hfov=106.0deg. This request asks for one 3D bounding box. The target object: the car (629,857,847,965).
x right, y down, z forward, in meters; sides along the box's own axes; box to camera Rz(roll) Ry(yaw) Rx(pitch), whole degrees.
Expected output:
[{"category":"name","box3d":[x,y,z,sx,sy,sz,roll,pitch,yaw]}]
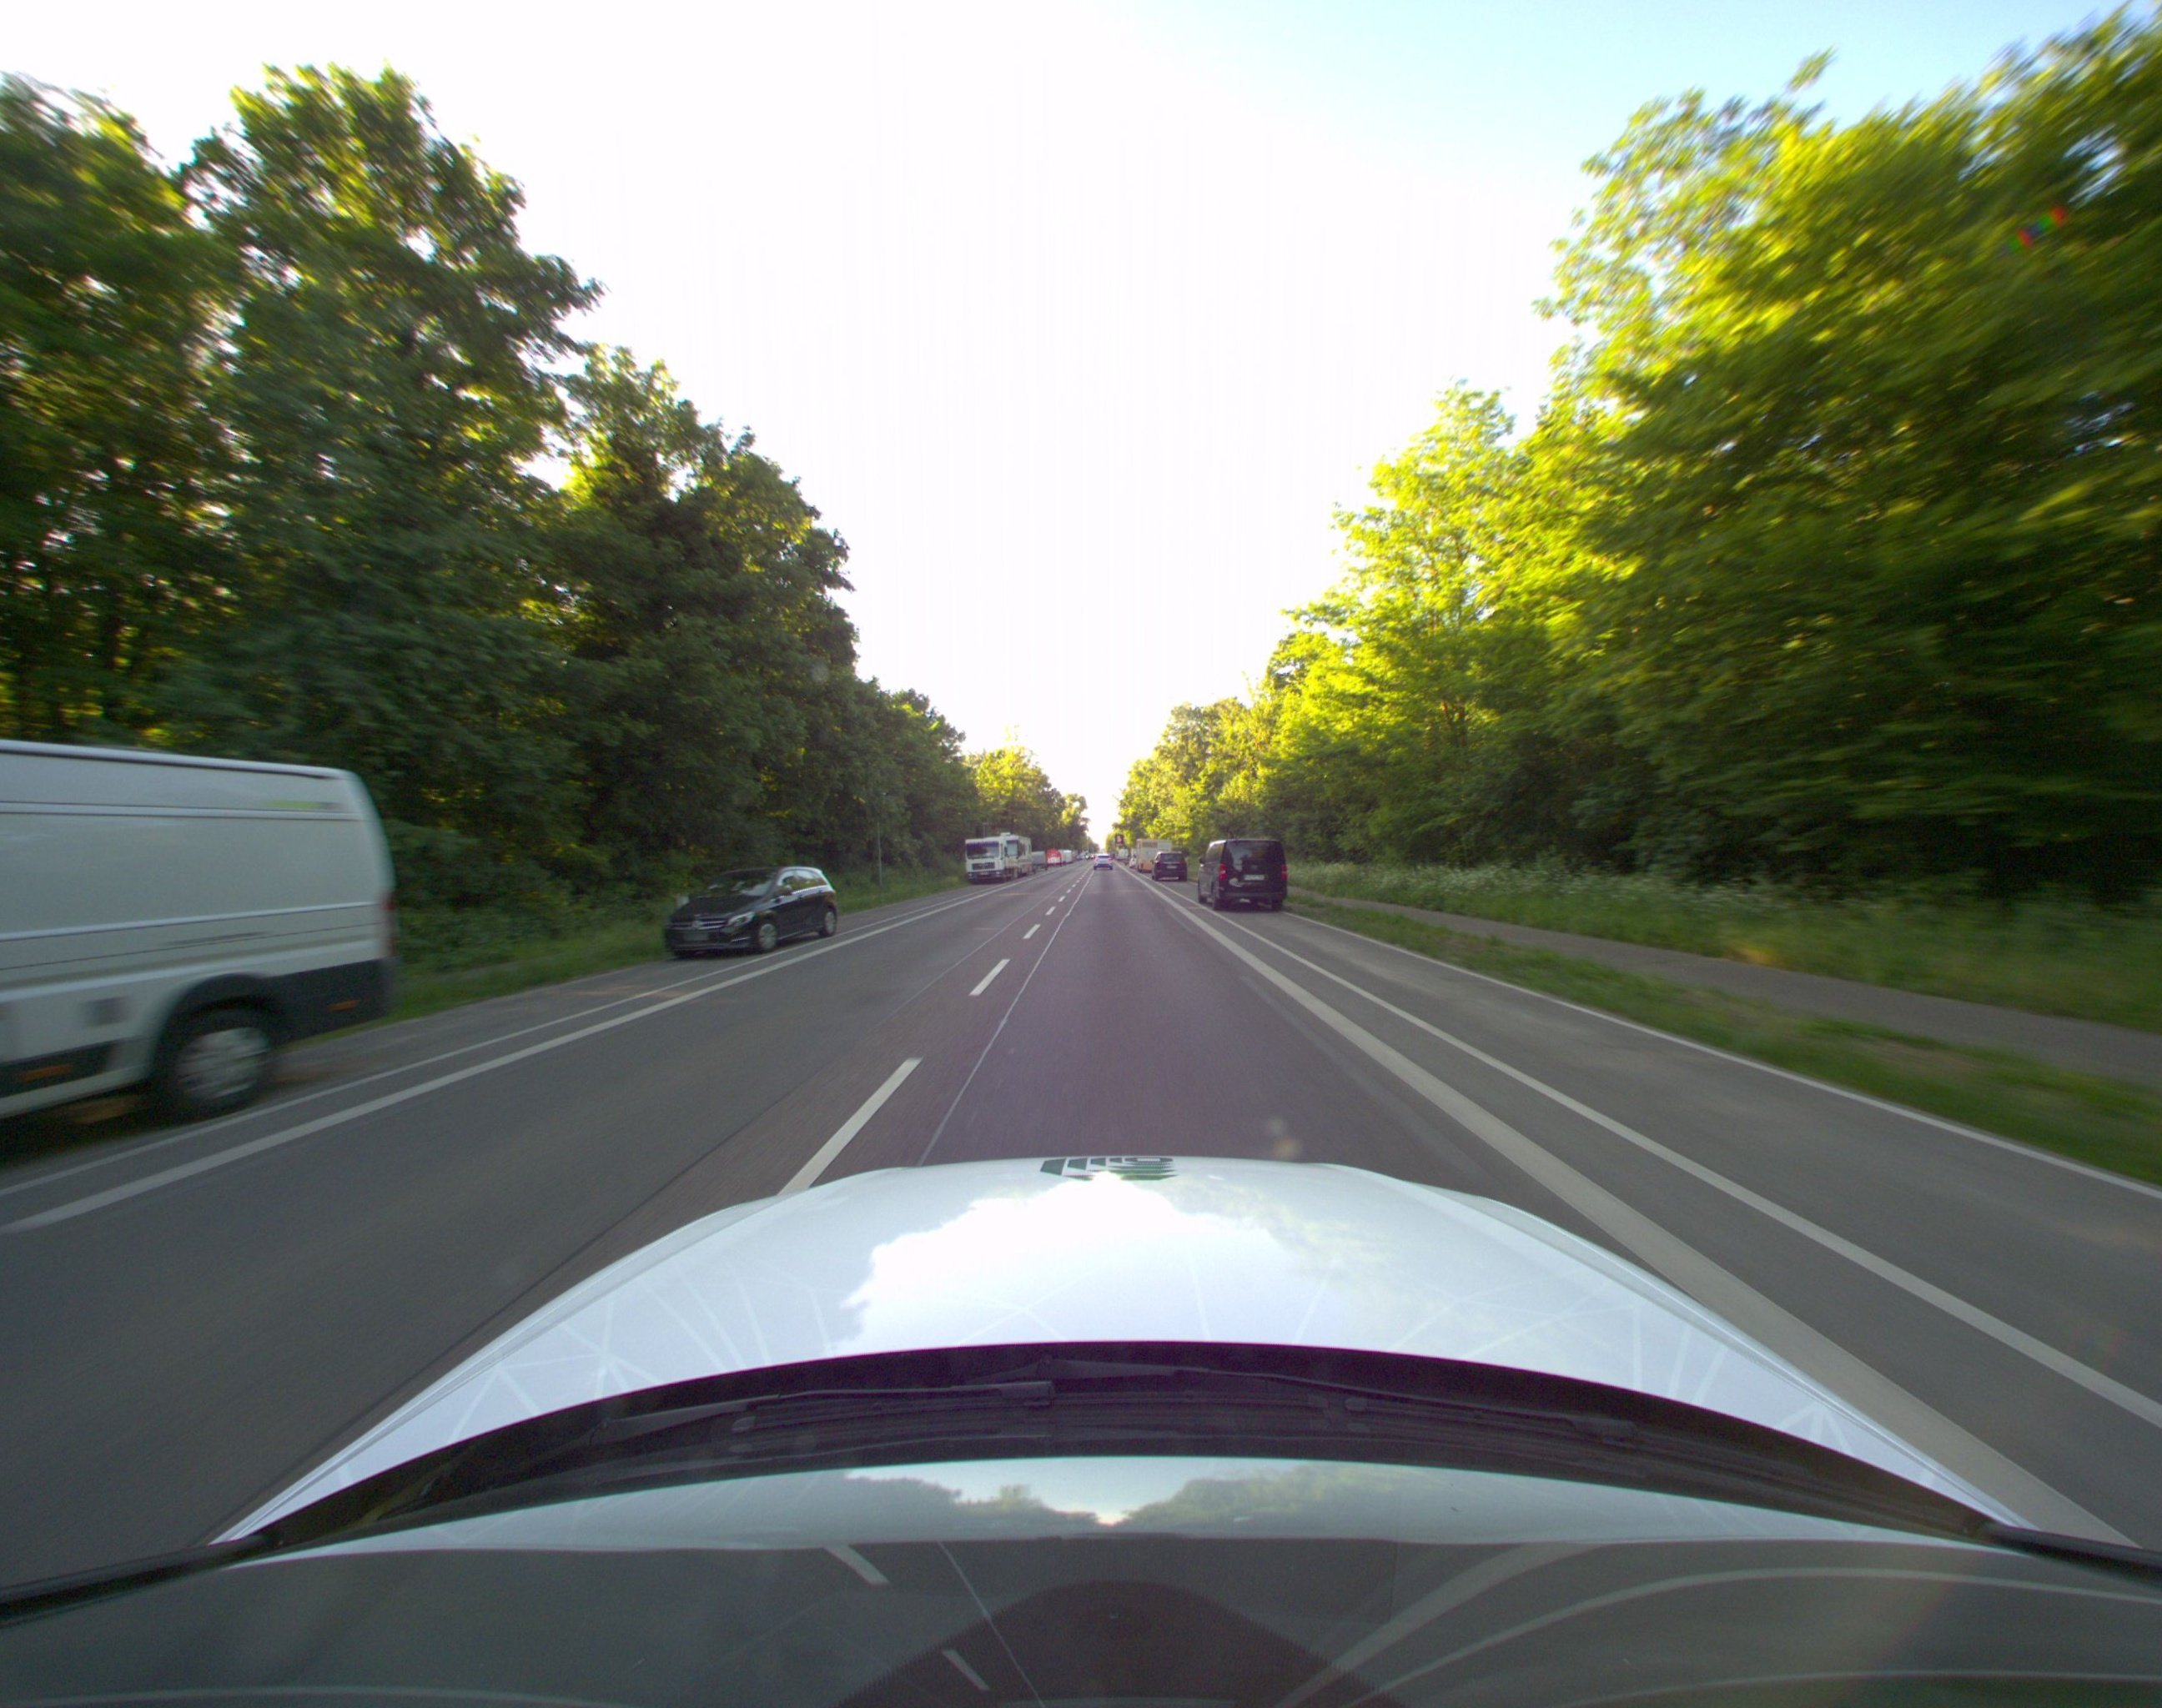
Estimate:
[{"category":"car","box3d":[-6.344,0.960,15.718,1.771,1.684,4.388,-3,0,8]}]

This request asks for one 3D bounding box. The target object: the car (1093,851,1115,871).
[{"category":"car","box3d":[2.252,0.647,79.121,2.021,1.840,4.031,-2,0,2]}]

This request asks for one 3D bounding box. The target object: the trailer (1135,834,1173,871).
[{"category":"trailer","box3d":[6.029,-0.130,68.172,2.747,2.870,6.591,-1,0,2]}]

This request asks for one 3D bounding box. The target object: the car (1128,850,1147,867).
[{"category":"car","box3d":[5.823,0.405,84.183,1.726,1.684,4.001,-1,0,2]}]

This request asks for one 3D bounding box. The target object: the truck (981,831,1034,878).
[{"category":"truck","box3d":[-5.593,0.010,63.802,2.697,3.347,10.928,-1,0,2]}]

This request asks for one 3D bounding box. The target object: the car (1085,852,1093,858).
[{"category":"car","box3d":[2.247,0.285,216.613,1.986,1.677,4.001,-3,0,1]}]

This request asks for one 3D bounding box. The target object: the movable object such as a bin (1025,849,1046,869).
[{"category":"movable object such as a bin","box3d":[-4.846,0.489,87.302,1.946,2.013,4.001,-1,0,1]}]

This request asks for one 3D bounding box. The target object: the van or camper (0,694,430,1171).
[{"category":"van or camper","box3d":[-6.908,0.453,3.881,2.113,2.572,6.545,-2,0,2]}]

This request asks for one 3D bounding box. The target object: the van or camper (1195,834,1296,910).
[{"category":"van or camper","box3d":[4.580,0.458,23.448,1.986,1.932,5.201,0,0,2]}]

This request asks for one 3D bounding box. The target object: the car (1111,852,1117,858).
[{"category":"car","box3d":[8.578,0.246,212.000,1.650,1.478,3.755,-1,0,2]}]

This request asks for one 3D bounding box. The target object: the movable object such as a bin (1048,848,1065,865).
[{"category":"movable object such as a bin","box3d":[-3.753,0.381,125.999,2.313,2.501,4.001,-1,0,1]}]

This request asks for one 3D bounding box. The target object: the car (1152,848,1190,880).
[{"category":"car","box3d":[5.024,0.535,46.028,1.834,1.662,4.002,-1,0,2]}]

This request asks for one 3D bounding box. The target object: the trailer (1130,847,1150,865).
[{"category":"trailer","box3d":[6.597,0.229,90.856,1.986,1.969,4.001,-1,0,1]}]

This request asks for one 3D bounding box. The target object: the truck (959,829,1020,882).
[{"category":"truck","box3d":[-5.745,0.087,52.551,2.697,3.093,7.992,-1,0,2]}]

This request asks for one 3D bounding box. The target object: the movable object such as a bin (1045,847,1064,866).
[{"category":"movable object such as a bin","box3d":[-3.663,0.350,111.594,2.313,2.501,4.001,-1,0,1]}]

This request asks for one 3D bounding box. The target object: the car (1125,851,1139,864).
[{"category":"car","box3d":[6.491,0.440,104.255,1.650,1.478,3.755,-1,0,2]}]

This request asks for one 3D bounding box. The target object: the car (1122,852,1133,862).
[{"category":"car","box3d":[7.711,0.482,135.286,1.650,1.478,3.755,-1,0,2]}]

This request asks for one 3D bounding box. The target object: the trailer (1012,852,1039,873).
[{"category":"trailer","box3d":[-4.993,0.737,73.912,1.986,1.750,4.329,-1,0,2]}]

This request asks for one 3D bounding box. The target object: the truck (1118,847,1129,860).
[{"category":"truck","box3d":[8.254,-0.175,159.071,2.089,2.452,5.682,-1,0,2]}]

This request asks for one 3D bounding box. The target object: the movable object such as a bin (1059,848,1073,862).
[{"category":"movable object such as a bin","box3d":[-2.698,0.226,148.604,2.313,2.501,4.001,-1,0,1]}]
